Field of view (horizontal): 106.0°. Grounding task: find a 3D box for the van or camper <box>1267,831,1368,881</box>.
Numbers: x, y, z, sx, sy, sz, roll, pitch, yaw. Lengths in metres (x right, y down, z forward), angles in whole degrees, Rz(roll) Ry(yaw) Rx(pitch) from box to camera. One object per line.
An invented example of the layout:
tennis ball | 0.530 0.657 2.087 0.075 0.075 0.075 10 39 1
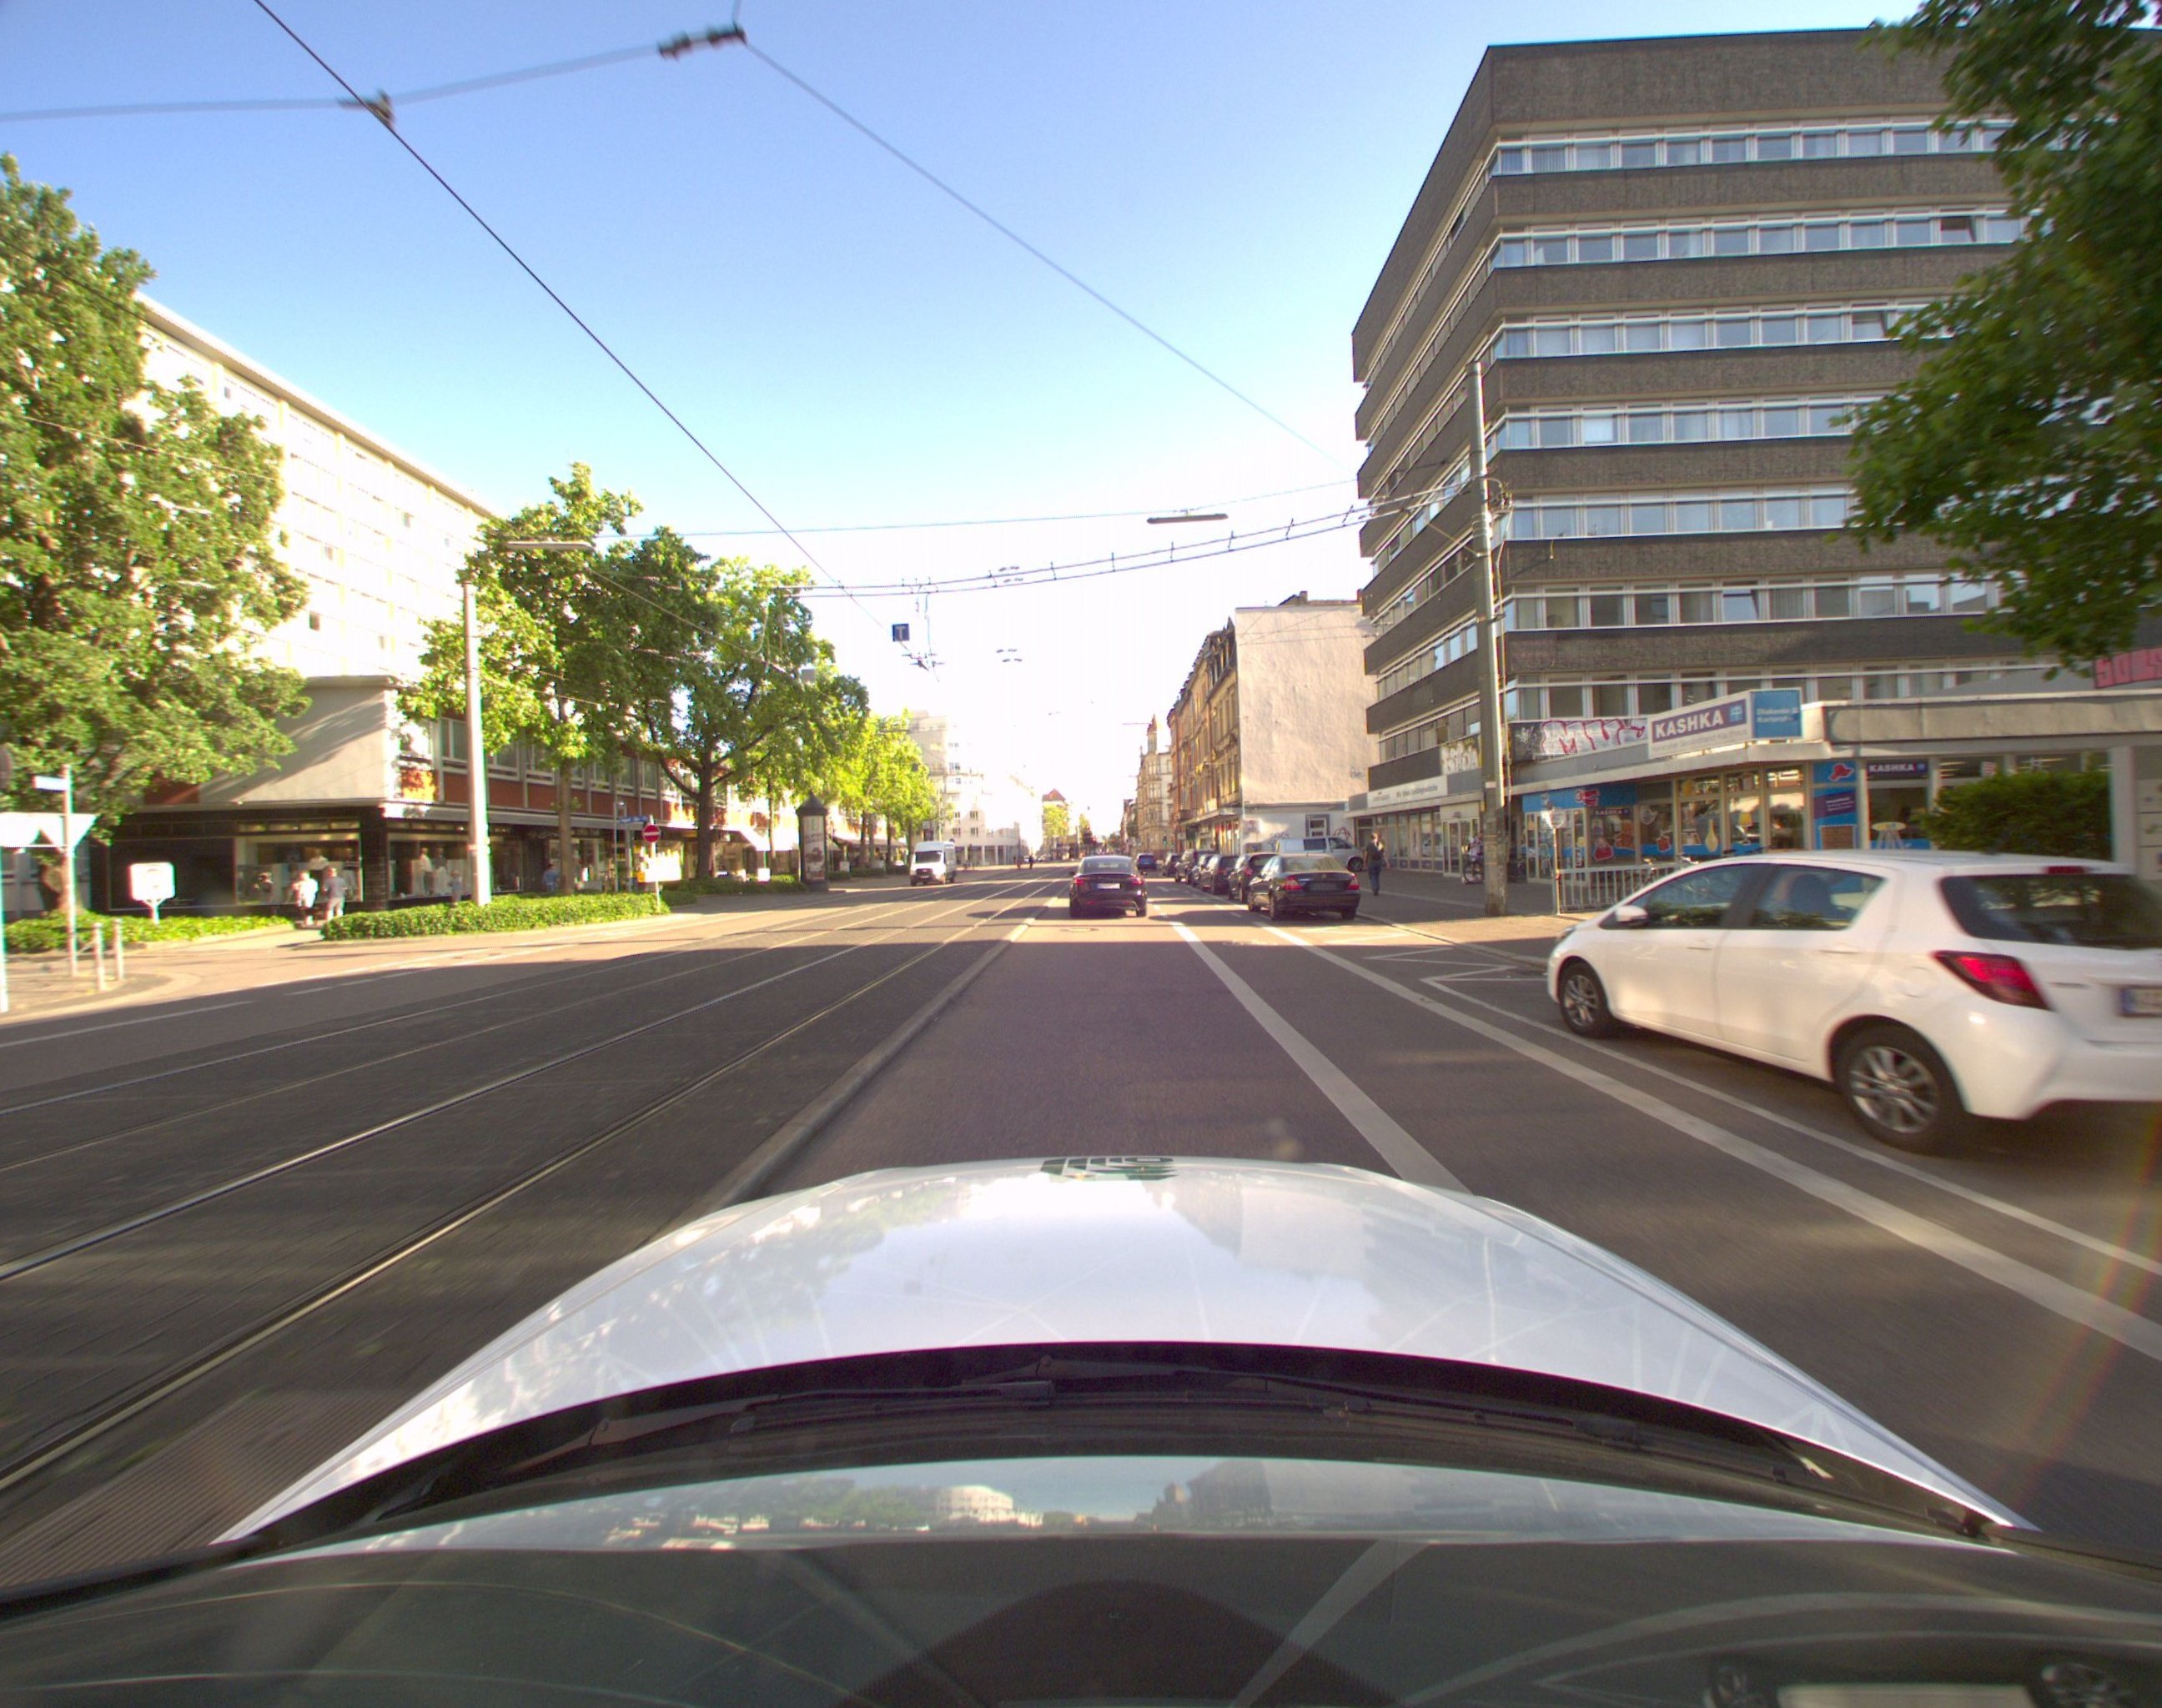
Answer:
van or camper | 12.116 0.098 41.965 4.621 2.136 1.990 -5 -1 5

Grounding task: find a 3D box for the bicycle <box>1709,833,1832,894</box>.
bicycle | 14.415 0.197 17.038 2.198 1.124 0.591 -3 0 -8

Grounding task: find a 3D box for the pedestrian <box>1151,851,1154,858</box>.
pedestrian | 11.649 0.094 133.082 0.439 1.221 0.389 -2 0 0

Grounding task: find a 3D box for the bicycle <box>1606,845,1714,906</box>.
bicycle | 11.595 0.425 16.347 1.673 1.140 0.579 -2 0 5

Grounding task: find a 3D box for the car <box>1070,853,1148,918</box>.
car | 0.647 0.700 19.967 1.714 1.405 3.710 -1 0 1

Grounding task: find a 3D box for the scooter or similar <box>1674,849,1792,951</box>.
scooter or similar | 8.751 0.581 10.990 0.534 1.234 1.362 -7 -1 10

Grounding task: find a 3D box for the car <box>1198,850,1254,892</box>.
car | 5.346 0.633 30.474 1.456 1.432 3.814 -1 -1 1

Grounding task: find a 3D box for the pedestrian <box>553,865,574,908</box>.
pedestrian | -22.183 1.401 34.921 0.545 1.801 0.587 0 0 -8

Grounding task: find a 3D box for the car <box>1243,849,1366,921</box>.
car | 5.031 0.643 18.971 1.704 1.457 4.551 -1 0 1

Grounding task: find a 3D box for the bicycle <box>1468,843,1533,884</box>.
bicycle | 13.399 0.299 25.989 2.189 1.219 0.797 -2 0 -32

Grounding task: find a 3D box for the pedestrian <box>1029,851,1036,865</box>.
pedestrian | -5.254 0.442 88.106 0.699 1.501 0.795 -1 0 2

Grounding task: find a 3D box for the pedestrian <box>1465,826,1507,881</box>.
pedestrian | 13.295 -0.022 26.777 1.143 1.728 1.050 -3 1 26

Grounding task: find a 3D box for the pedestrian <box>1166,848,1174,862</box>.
pedestrian | 9.858 0.117 90.698 0.746 1.617 0.705 -2 0 -1

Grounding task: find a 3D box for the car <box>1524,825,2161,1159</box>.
car | 4.857 0.611 5.494 1.597 1.443 3.883 0 0 -1

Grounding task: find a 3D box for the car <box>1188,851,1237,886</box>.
car | 5.720 0.632 35.758 1.573 1.444 3.914 -1 -1 1

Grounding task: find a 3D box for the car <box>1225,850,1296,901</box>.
car | 5.448 0.638 25.099 1.572 1.447 3.311 -1 -1 3

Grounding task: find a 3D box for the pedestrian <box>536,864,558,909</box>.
pedestrian | -22.782 1.379 34.724 0.590 1.872 0.537 0 0 -8

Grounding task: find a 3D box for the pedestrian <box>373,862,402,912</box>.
pedestrian | -25.133 1.177 29.524 0.534 1.784 0.593 0 0 2

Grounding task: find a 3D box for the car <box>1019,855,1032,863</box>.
car | -10.340 0.951 152.251 1.986 1.368 4.001 -2 0 2

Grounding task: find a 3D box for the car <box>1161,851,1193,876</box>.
car | 6.046 0.599 51.563 1.708 1.472 3.722 -2 0 2

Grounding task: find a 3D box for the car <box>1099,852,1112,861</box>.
car | 4.235 0.377 143.547 1.989 1.525 3.996 0 -1 -3

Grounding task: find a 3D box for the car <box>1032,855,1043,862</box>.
car | -9.337 0.992 176.973 1.986 1.495 4.001 -2 0 2

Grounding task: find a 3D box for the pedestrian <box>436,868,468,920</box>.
pedestrian | -22.924 1.449 29.700 0.624 1.847 0.673 0 0 -2

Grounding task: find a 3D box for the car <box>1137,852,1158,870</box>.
car | 5.658 0.624 69.396 1.587 1.433 3.688 -2 0 2

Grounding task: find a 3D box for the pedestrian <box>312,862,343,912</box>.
pedestrian | -27.071 1.186 29.275 0.589 1.784 0.538 0 0 1

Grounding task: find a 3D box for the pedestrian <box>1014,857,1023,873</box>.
pedestrian | -6.551 1.181 85.278 0.839 1.695 0.798 0 0 9

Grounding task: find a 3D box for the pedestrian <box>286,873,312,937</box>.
pedestrian | -25.896 1.662 26.990 0.607 2.066 0.660 0 0 -43

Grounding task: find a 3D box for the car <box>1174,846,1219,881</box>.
car | 5.744 0.466 40.795 1.822 1.628 4.097 -1 -1 2

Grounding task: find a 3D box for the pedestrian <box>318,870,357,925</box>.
pedestrian | -24.002 1.391 26.285 0.517 1.694 0.714 -3 0 25

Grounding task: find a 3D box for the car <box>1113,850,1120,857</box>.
car | 9.654 -0.120 220.184 1.839 1.592 4.003 -3 0 2

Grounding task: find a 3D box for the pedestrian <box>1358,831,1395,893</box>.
pedestrian | 8.875 0.241 24.494 0.719 1.812 0.889 -2 0 1

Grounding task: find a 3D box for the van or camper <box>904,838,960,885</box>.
van or camper | -9.147 0.442 50.599 2.133 2.654 6.878 -2 0 -1

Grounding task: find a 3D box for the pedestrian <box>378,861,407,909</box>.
pedestrian | -25.742 1.165 30.449 0.534 1.770 0.593 0 0 2
